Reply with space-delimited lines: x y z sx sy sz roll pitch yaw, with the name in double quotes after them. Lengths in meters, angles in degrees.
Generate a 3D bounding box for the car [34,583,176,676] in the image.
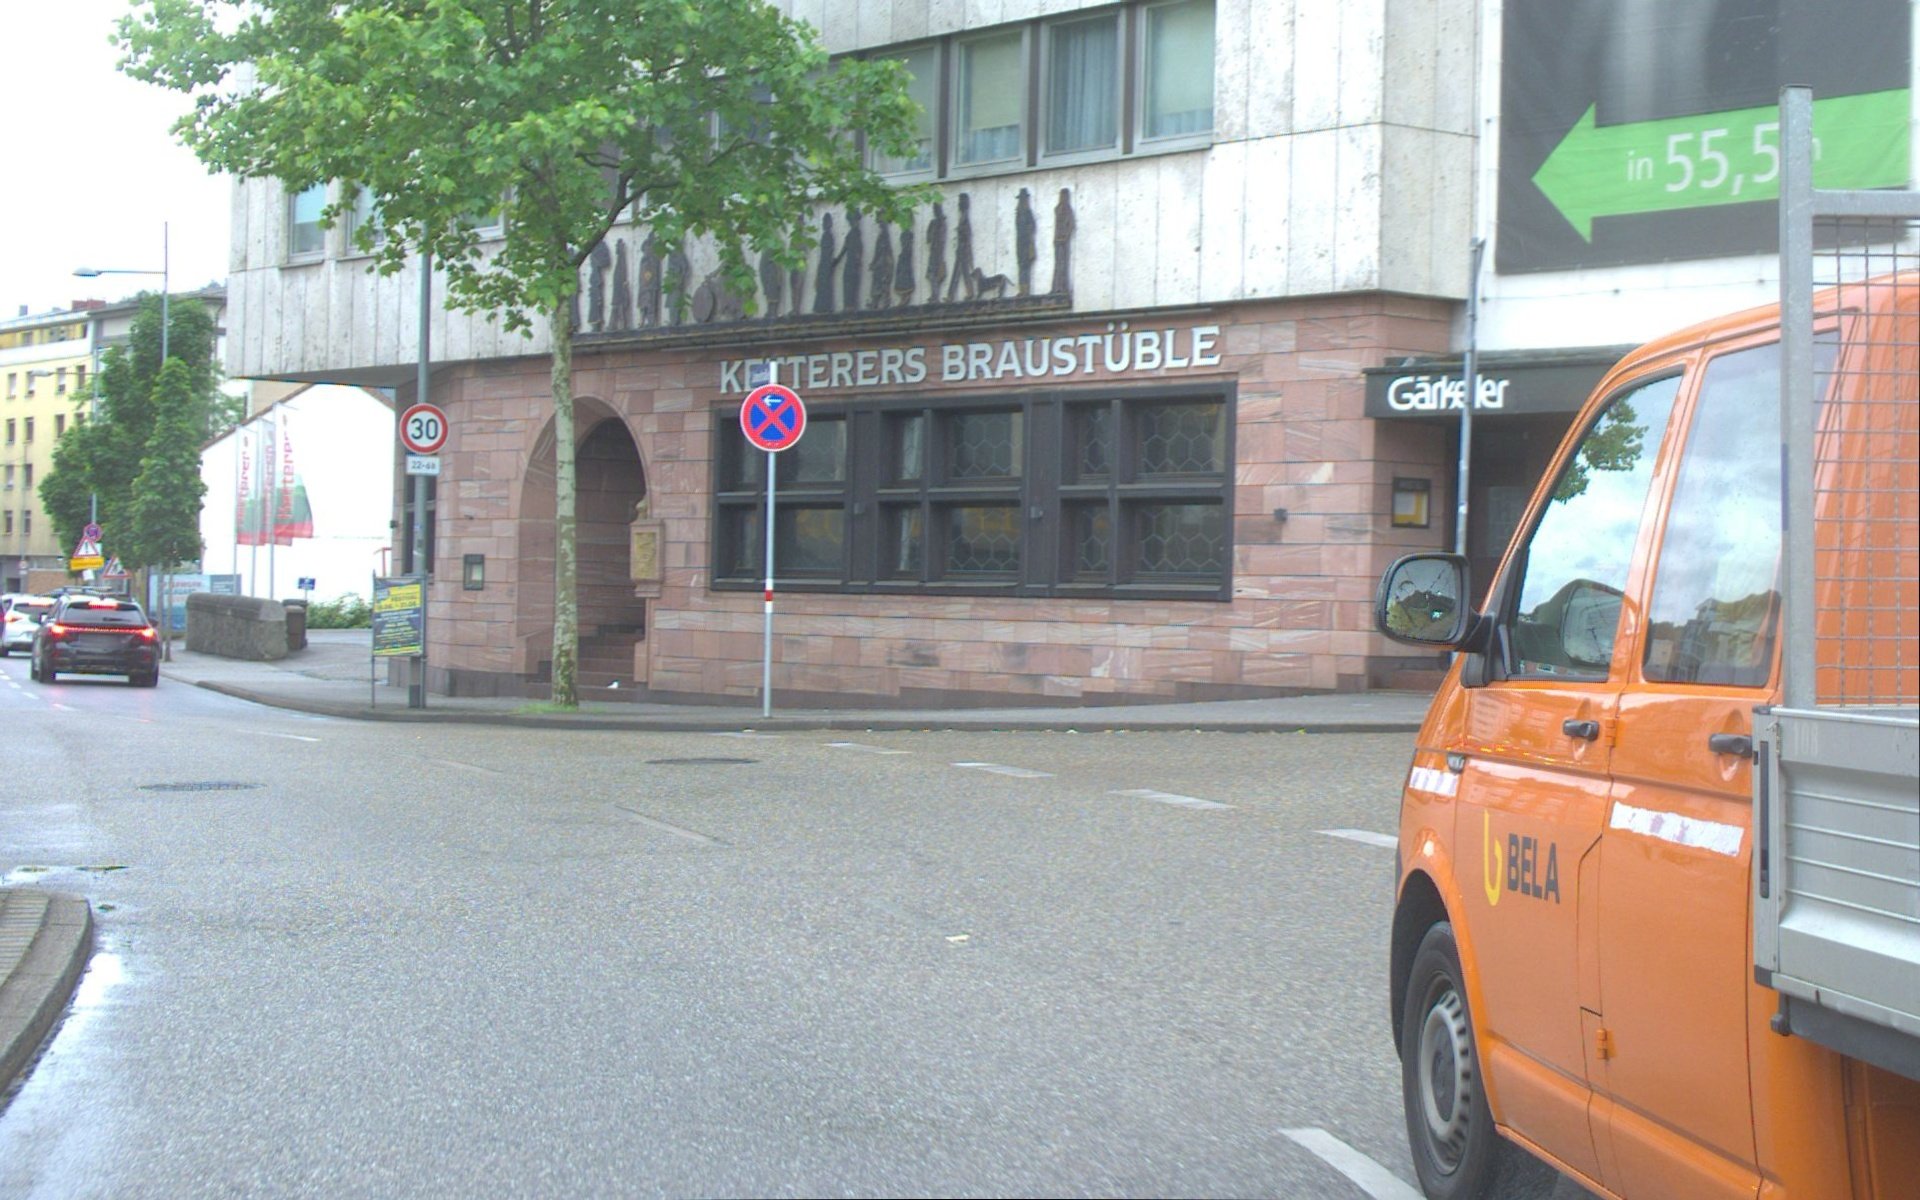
-13.979 0.451 56.066 1.789 1.398 4.635 -2 1 -19 "car"

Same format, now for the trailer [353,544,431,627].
-19.221 -0.503 116.202 2.126 2.707 5.392 -1 1 -14 "trailer"

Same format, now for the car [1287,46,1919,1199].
2.101 0.393 5.626 2.101 2.082 5.542 3 0 -4 "car"

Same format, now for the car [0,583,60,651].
-22.254 0.386 81.440 1.664 1.391 3.868 0 3 -16 "car"
